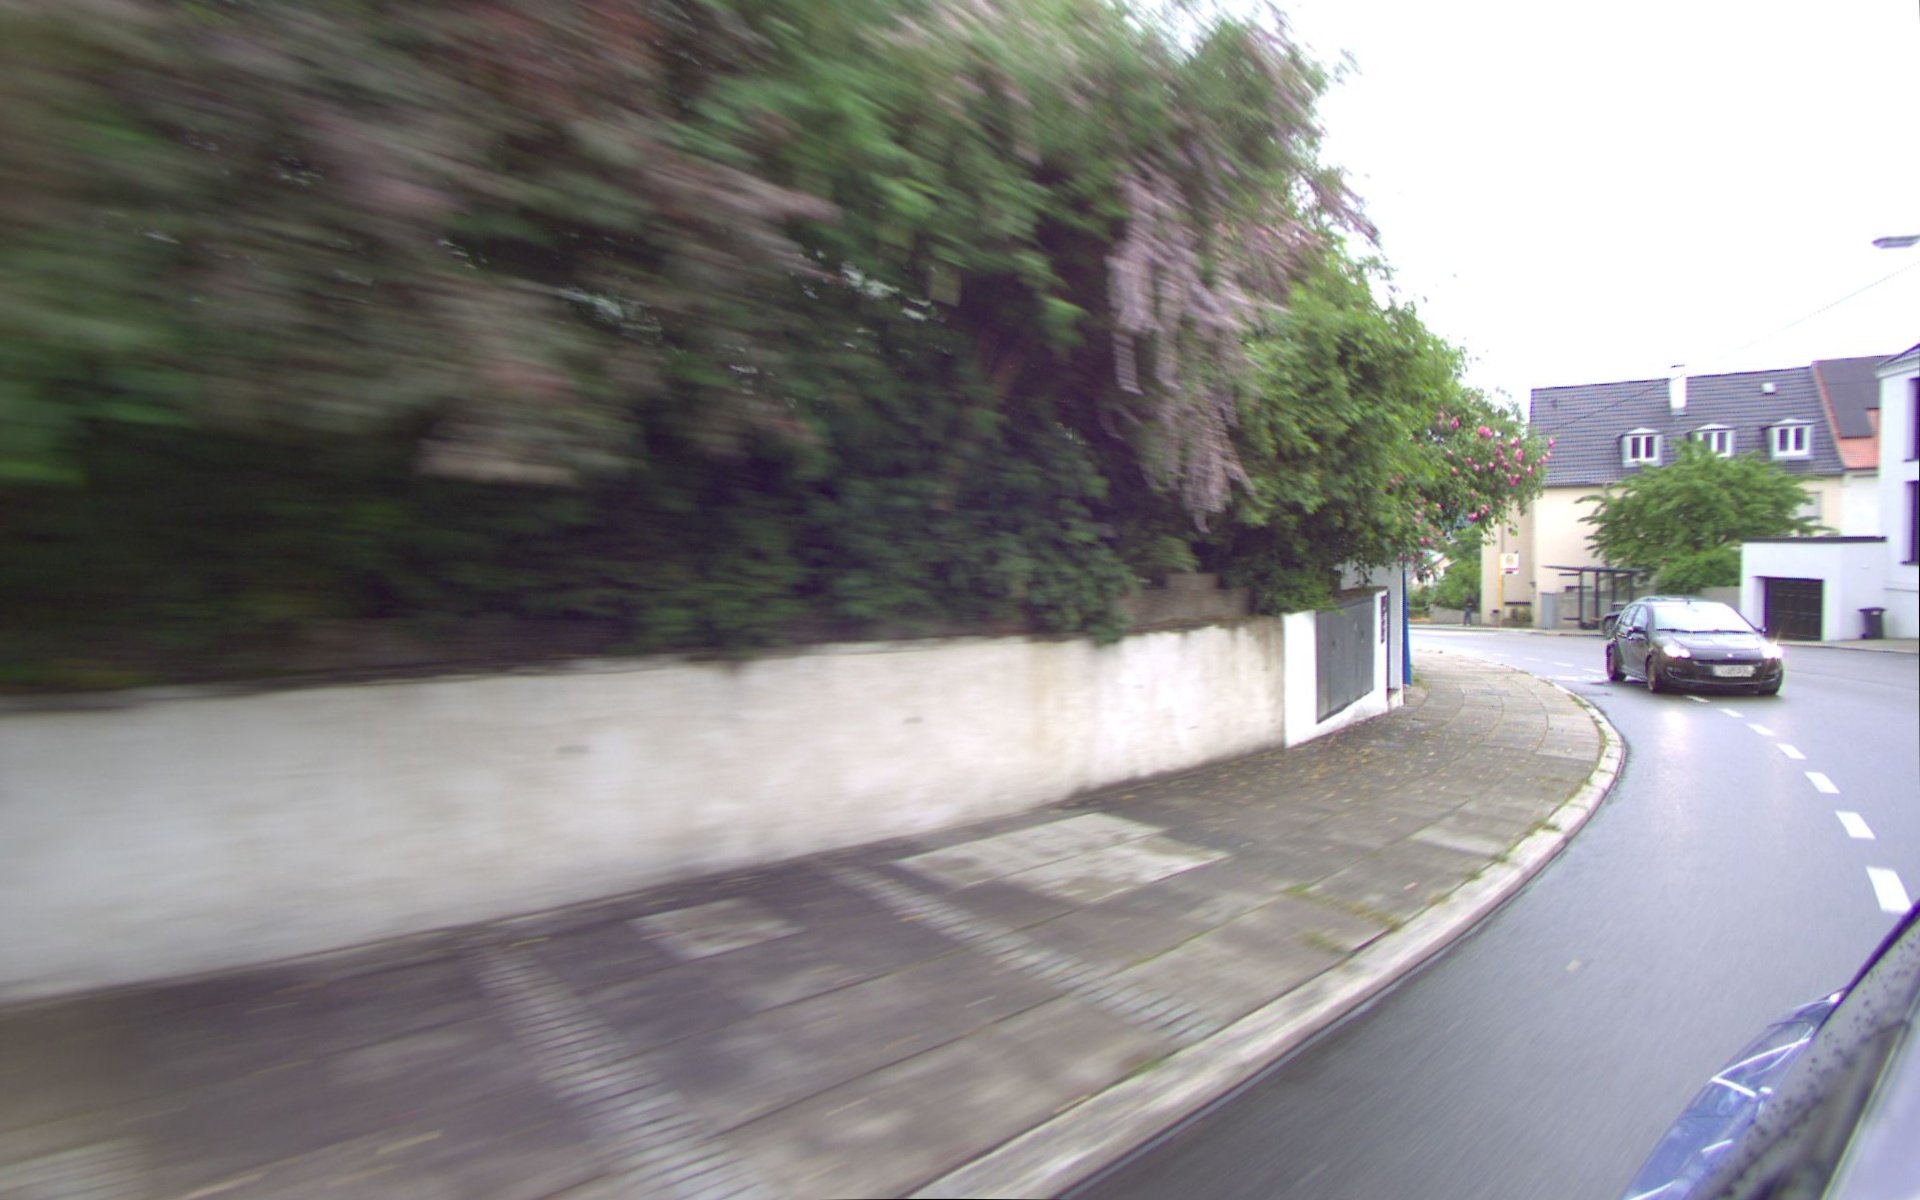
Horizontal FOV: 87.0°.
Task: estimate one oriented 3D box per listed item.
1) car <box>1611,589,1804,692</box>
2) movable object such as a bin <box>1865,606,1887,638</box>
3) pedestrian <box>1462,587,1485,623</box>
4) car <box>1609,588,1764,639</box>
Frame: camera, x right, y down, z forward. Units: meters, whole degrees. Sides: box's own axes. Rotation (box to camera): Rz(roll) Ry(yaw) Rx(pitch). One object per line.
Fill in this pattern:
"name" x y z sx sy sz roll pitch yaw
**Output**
"car" 12.234 0.602 16.819 1.662 1.430 3.611 -2 1 22
"movable object such as a bin" 26.841 0.642 29.666 0.365 0.924 0.282 1 0 8
"pedestrian" 27.226 0.253 53.651 0.775 1.880 0.727 -2 0 5
"car" 23.272 0.377 32.686 1.803 1.504 4.983 -1 1 6
